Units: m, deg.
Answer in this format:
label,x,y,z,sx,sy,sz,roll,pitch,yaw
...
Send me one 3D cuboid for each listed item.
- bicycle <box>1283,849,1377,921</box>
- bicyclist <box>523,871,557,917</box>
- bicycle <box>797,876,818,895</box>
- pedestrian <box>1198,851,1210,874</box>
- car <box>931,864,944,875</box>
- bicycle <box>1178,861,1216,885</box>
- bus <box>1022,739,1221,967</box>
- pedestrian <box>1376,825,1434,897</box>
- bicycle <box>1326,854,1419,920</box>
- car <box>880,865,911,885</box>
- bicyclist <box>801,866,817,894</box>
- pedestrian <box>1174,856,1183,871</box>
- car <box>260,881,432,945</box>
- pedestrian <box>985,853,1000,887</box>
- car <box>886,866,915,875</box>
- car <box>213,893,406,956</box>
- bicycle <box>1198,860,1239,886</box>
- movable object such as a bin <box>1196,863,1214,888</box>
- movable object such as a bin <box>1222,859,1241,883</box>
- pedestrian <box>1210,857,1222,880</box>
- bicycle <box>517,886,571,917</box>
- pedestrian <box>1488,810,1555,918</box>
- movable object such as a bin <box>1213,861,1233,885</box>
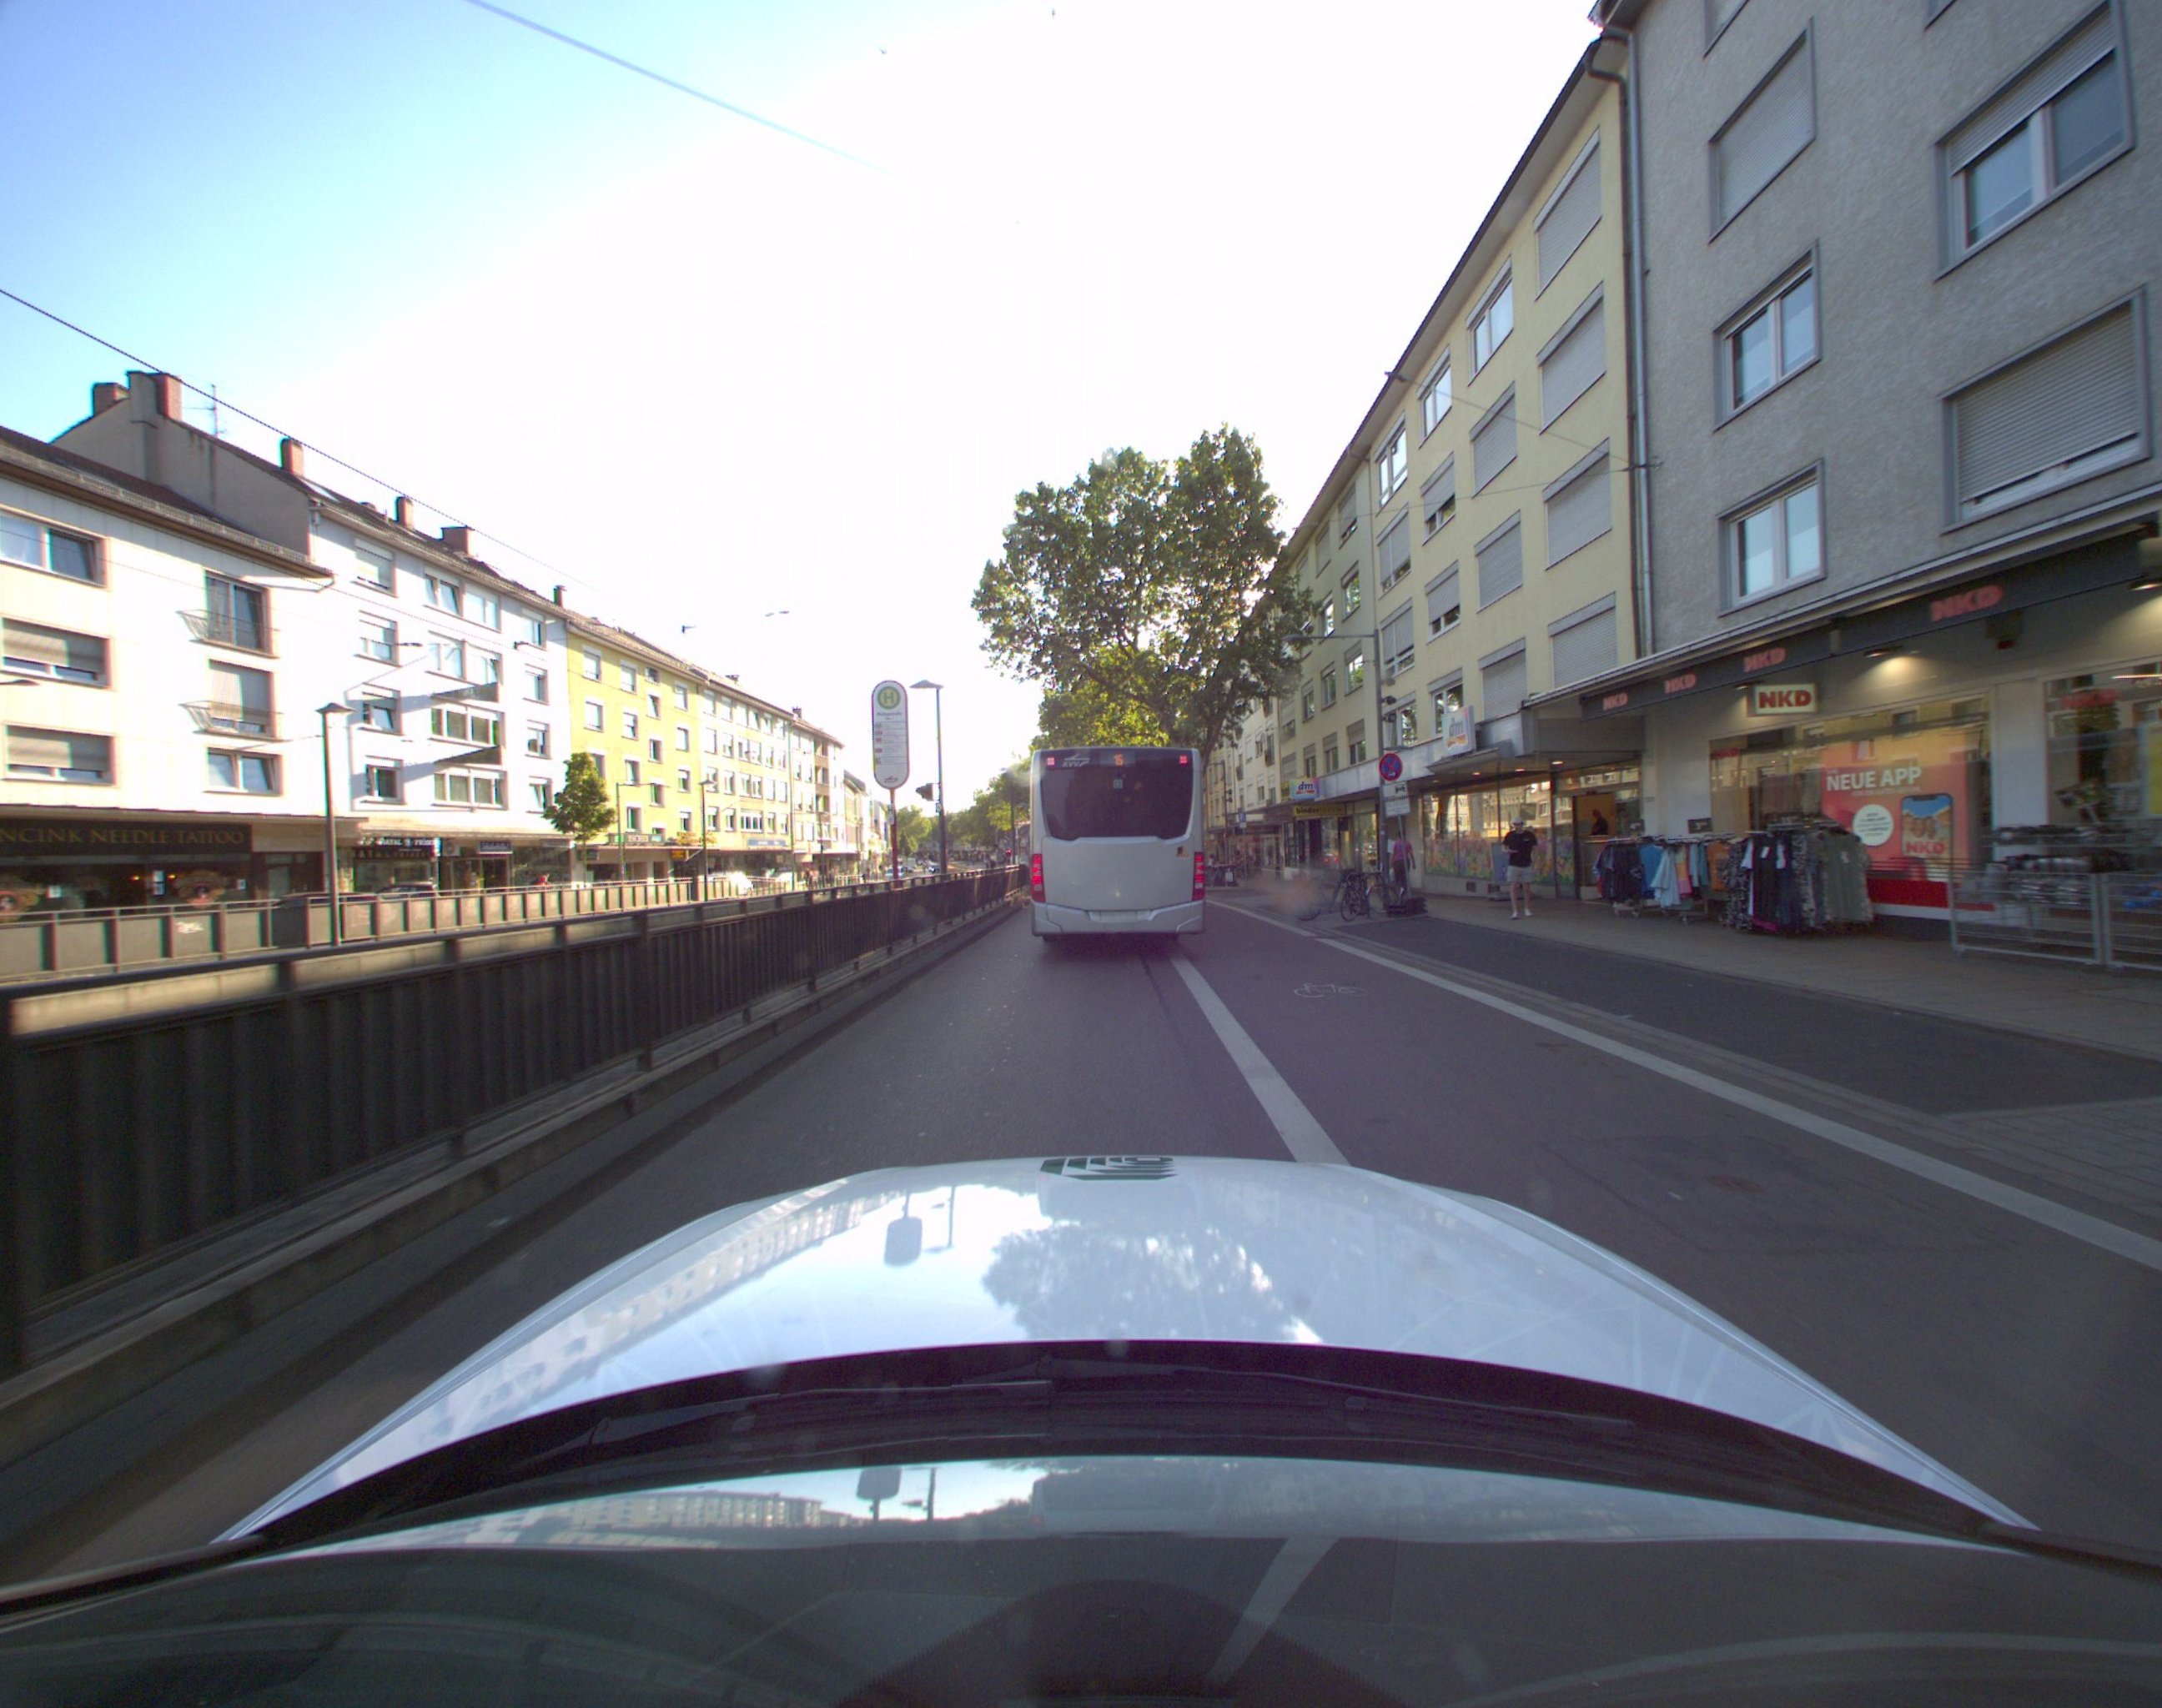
label,x,y,z,sx,sy,sz,roll,pitch,yaw
bicycle,5.412,0.668,17.798,1.775,1.311,0.696,-8,-1,12
bicyclist,-23.485,1.739,35.392,0.689,1.886,1.060,2,2,6
bicycle,-19.654,2.267,58.599,0.715,1.230,2.278,-3,0,0
pedestrian,8.706,0.577,57.509,0.633,1.586,0.626,-4,-1,-1
car,-23.857,2.566,135.317,1.720,1.509,3.469,-5,0,-5
bicycle,6.129,0.991,43.017,1.897,1.105,0.519,-5,-1,6
bus,0.507,-0.017,14.917,2.670,3.083,7.110,-2,0,-1
pedestrian,8.398,0.184,21.137,0.964,1.763,1.134,-3,-1,1
bicycle,6.102,0.676,17.021,1.797,1.124,0.658,-7,0,-27
car,-18.420,2.061,81.140,1.988,1.717,4.434,-2,0,-1
bicyclist,-19.657,1.873,58.846,0.761,2.013,0.911,-3,0,0
pedestrian,8.588,0.818,71.720,0.582,1.275,0.757,0,-1,-6
car,-23.248,1.792,25.860,1.840,1.800,3.793,0,-1,39
pedestrian,-4.862,0.860,44.633,0.740,1.849,0.589,-2,0,-5
car,-31.340,2.915,141.619,4.578,1.412,1.976,-2,-1,-43
car,-22.028,1.935,23.356,1.840,1.491,3.793,0,-1,39
bicycle,6.241,0.869,36.967,1.711,1.118,0.745,-2,-4,1
movable object such as a bin,5.926,1.042,38.931,0.718,1.102,0.645,-6,-1,7
movable object such as a bin,7.120,0.795,38.599,0.716,1.072,0.647,-4,-1,19
pedestrian,9.534,0.995,57.543,0.620,1.586,0.626,-4,-1,-1
bicycle,-23.460,2.056,35.622,0.702,1.158,2.202,3,2,6
pedestrian,7.798,0.158,14.446,0.767,1.799,0.935,-5,0,20
movable object such as a bin,6.809,0.921,39.008,0.720,1.072,0.643,-5,-1,-2
